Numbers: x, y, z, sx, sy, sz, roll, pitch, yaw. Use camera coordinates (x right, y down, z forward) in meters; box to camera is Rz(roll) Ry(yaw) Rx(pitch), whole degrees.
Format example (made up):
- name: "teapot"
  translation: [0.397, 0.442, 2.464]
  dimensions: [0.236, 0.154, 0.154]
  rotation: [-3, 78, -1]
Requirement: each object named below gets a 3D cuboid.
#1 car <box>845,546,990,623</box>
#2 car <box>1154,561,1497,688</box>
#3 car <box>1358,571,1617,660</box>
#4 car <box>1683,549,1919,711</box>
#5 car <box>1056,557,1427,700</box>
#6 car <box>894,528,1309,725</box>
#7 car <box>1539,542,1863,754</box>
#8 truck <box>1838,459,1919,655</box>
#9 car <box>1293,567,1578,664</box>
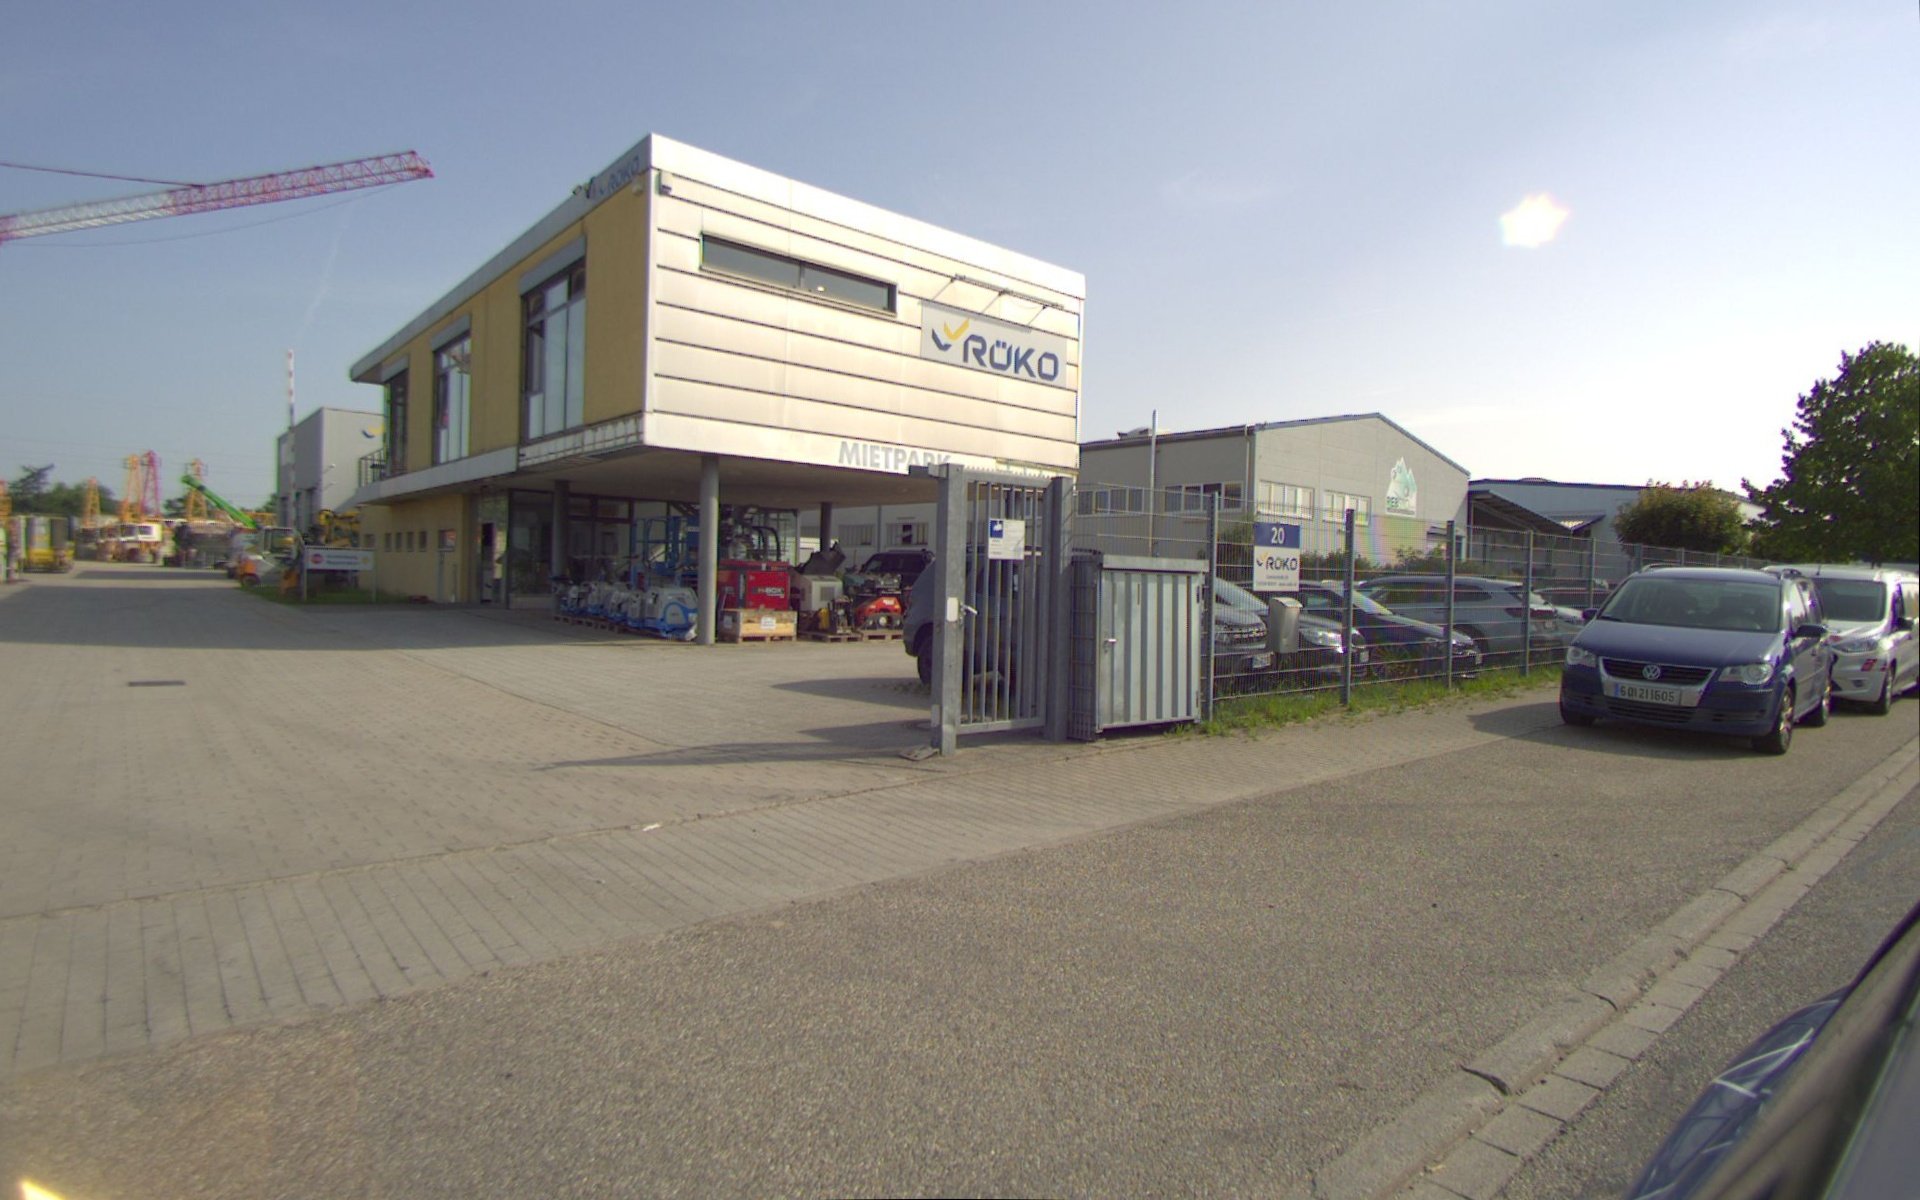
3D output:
- name: "car"
  translation: [-1.276, -0.469, 28.745]
  dimensions: [1.861, 2.027, 4.367]
  rotation: [1, 1, -39]
- name: "car"
  translation: [5.109, 0.254, 14.553]
  dimensions: [1.868, 1.514, 4.229]
  rotation: [1, 1, -44]
- name: "car"
  translation: [9.810, 0.242, 19.008]
  dimensions: [1.761, 1.496, 3.989]
  rotation: [0, 0, -45]
- name: "car"
  translation: [11.551, 0.281, 13.495]
  dimensions: [4.518, 1.811, 1.998]
  rotation: [-1, 2, -40]
- name: "car"
  translation: [3.464, 0.252, 13.024]
  dimensions: [1.868, 1.514, 4.229]
  rotation: [1, 1, -44]
- name: "car"
  translation: [1.404, 0.168, 11.177]
  dimensions: [4.224, 1.759, 1.870]
  rotation: [2, 1, 43]
- name: "car"
  translation: [7.696, 0.343, 10.356]
  dimensions: [4.176, 1.741, 1.829]
  rotation: [-1, 2, -42]
- name: "truck"
  translation: [23.580, -0.838, 23.950]
  dimensions: [9.517, 4.063, 2.752]
  rotation: [1, 3, -41]
- name: "car"
  translation: [7.937, 0.183, 17.132]
  dimensions: [1.761, 1.388, 3.990]
  rotation: [0, 2, -44]
